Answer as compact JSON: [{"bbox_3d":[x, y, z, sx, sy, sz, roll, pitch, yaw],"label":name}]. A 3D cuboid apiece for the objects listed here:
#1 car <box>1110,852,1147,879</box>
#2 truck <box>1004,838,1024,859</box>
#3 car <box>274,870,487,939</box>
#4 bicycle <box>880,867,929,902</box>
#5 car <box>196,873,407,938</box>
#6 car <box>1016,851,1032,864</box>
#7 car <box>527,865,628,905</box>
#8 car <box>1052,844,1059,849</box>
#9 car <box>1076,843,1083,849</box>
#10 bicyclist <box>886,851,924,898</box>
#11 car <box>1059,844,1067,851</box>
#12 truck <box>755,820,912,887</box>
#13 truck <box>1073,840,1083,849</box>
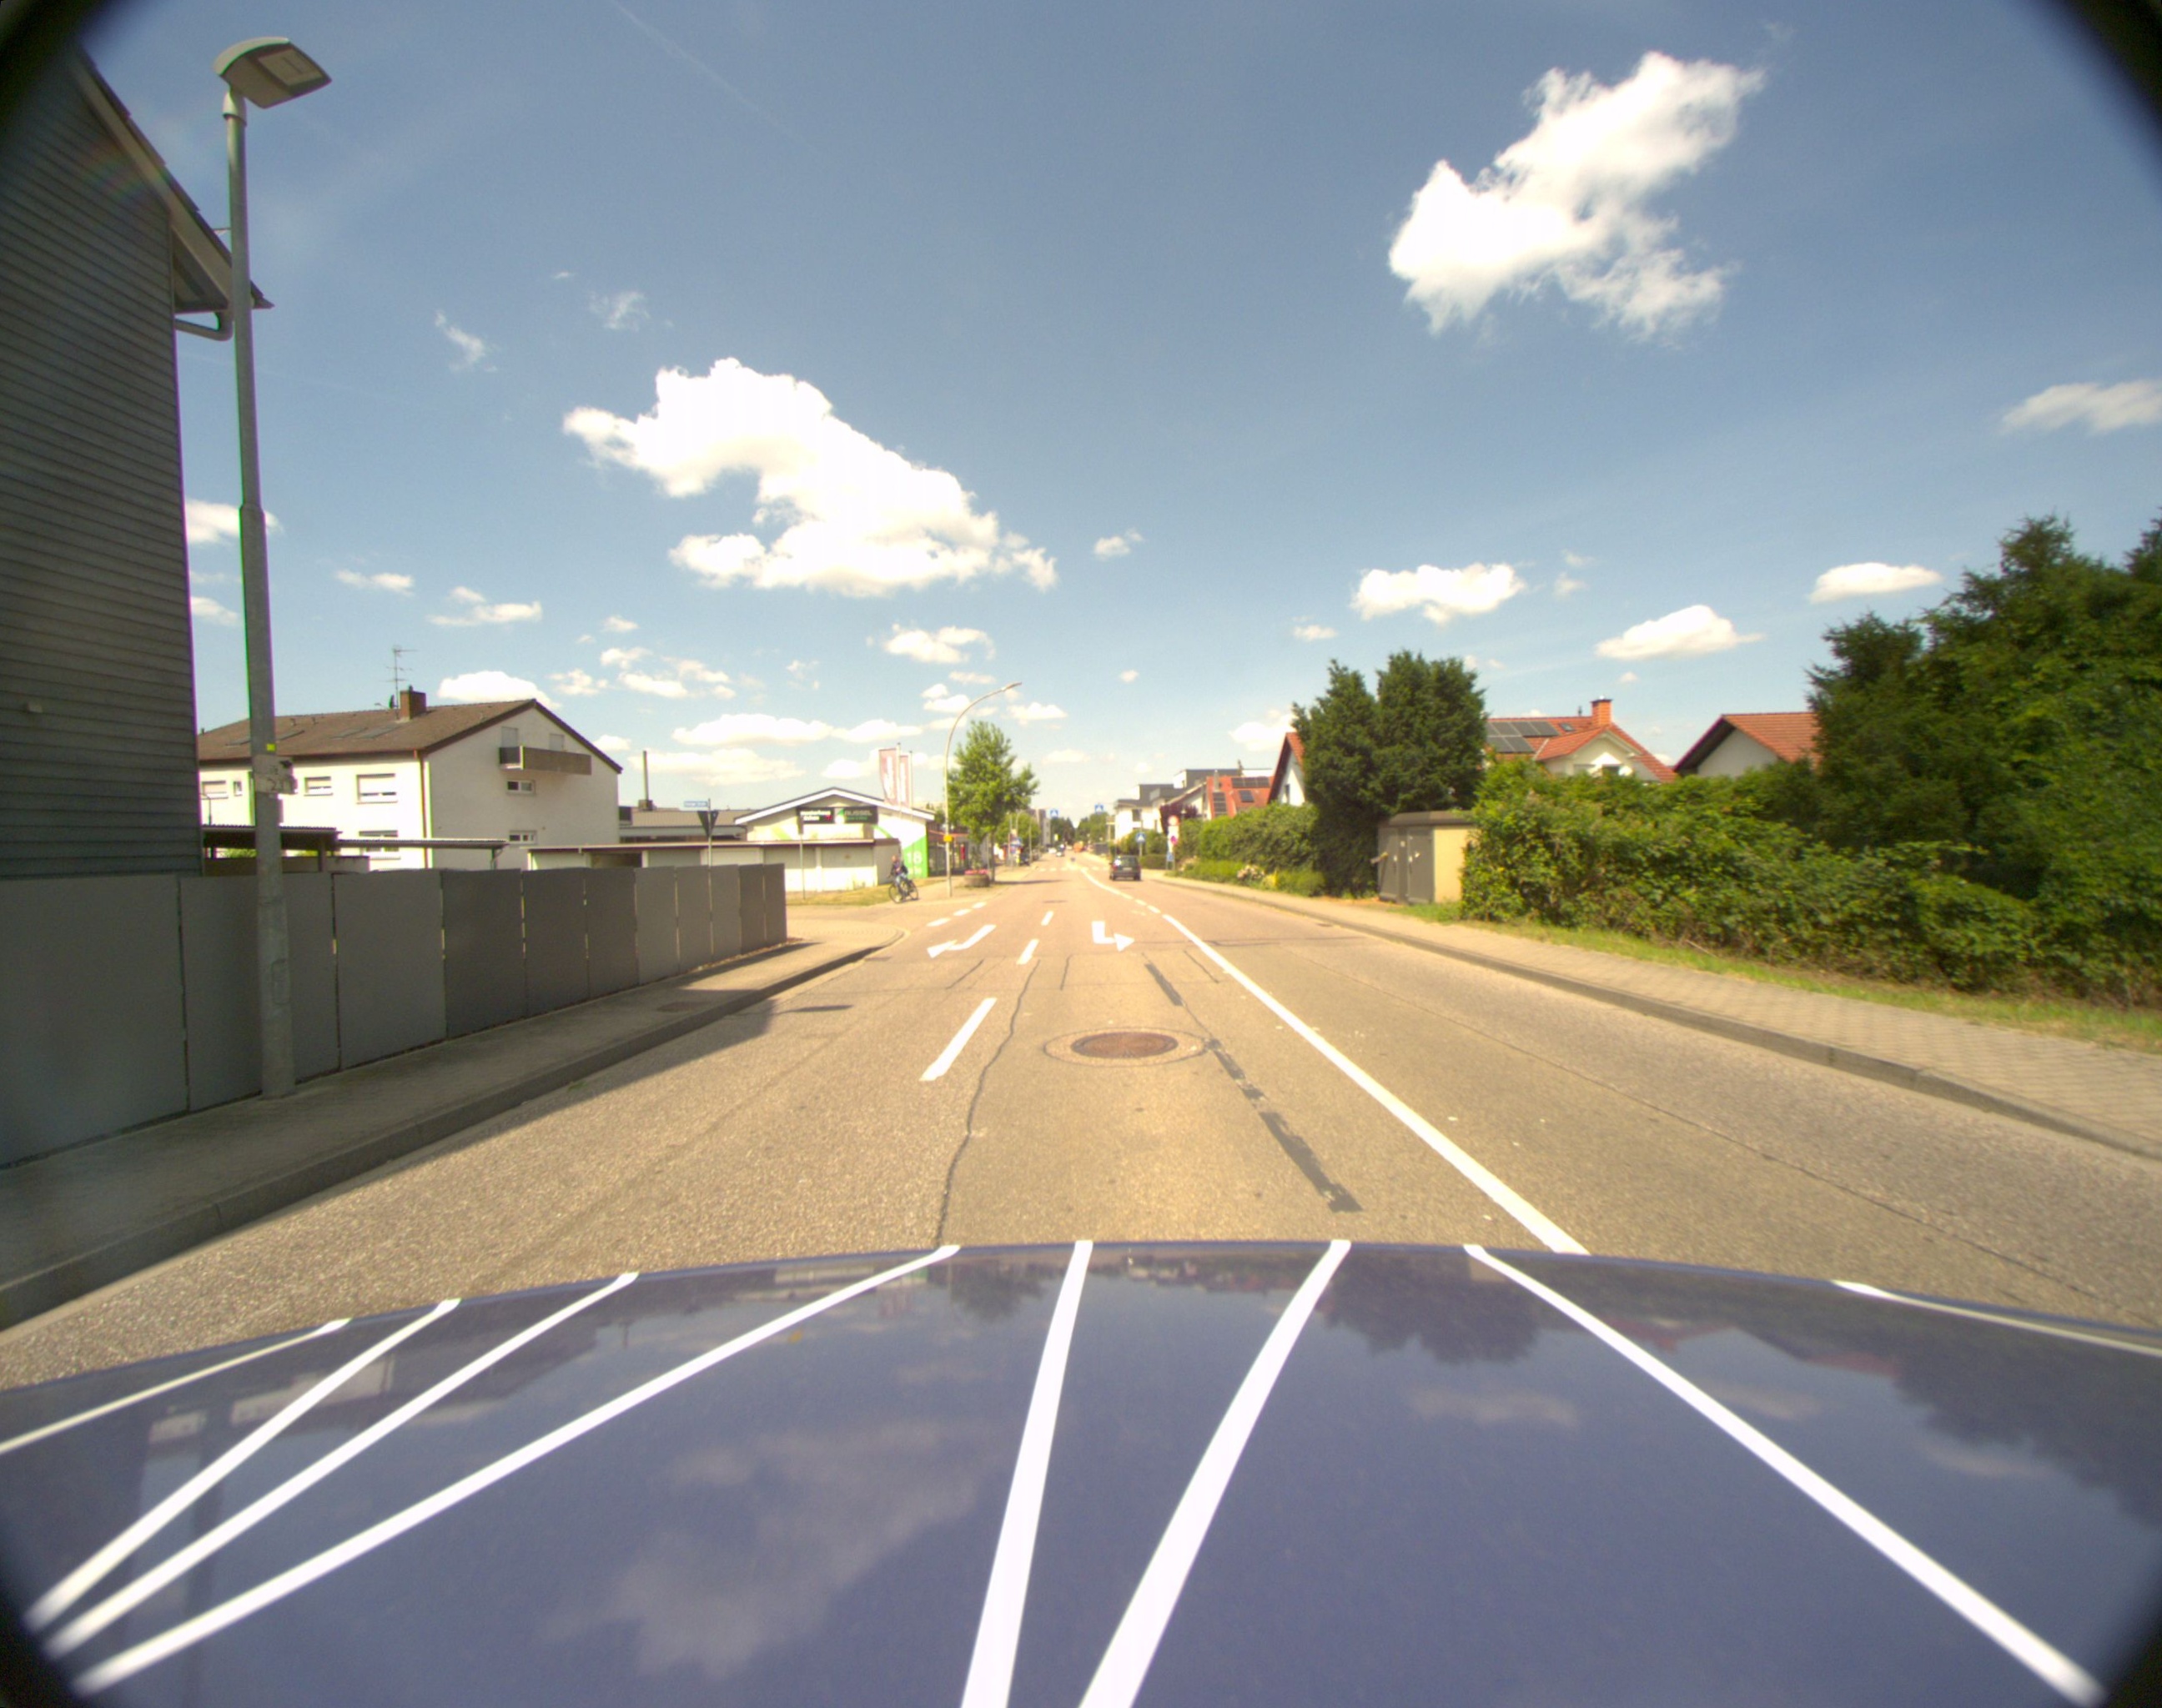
[{"bbox_3d":[2.639,0.615,42.898,1.785,1.425,3.871,0,0,-1],"label":"car"},{"bbox_3d":[-9.241,-0.767,104.080,2.580,2.746,6.329,0,1,-7],"label":"truck"},{"bbox_3d":[-18.551,1.268,20.432,1.741,1.638,4.217,-1,-1,2],"label":"car"},{"bbox_3d":[-6.276,1.078,27.129,0.804,1.158,1.945,-1,0,16],"label":"bicycle"},{"bbox_3d":[-21.076,1.322,20.793,1.741,1.577,3.854,-1,-1,2],"label":"car"},{"bbox_3d":[-6.622,0.433,89.171,1.729,1.484,3.758,0,1,-2],"label":"car"},{"bbox_3d":[-22.208,1.320,33.710,1.679,1.494,4.131,-1,1,0],"label":"car"},{"bbox_3d":[-6.674,-1.949,199.467,1.729,1.484,3.759,0,1,-1],"label":"car"},{"bbox_3d":[-0.471,-2.278,210.864,1.799,1.480,3.612,0,1,-2],"label":"car"},{"bbox_3d":[-6.268,0.721,27.099,0.804,1.620,1.113,-1,0,16],"label":"bicyclist"},{"bbox_3d":[-3.701,-1.402,157.380,1.729,1.484,3.759,0,1,-1],"label":"car"},{"bbox_3d":[-14.355,-0.078,44.540,8.192,3.553,2.676,-2,2,-2],"label":"truck"},{"bbox_3d":[-0.789,-2.899,225.007,2.864,2.695,6.789,0,1,-1],"label":"truck"}]
